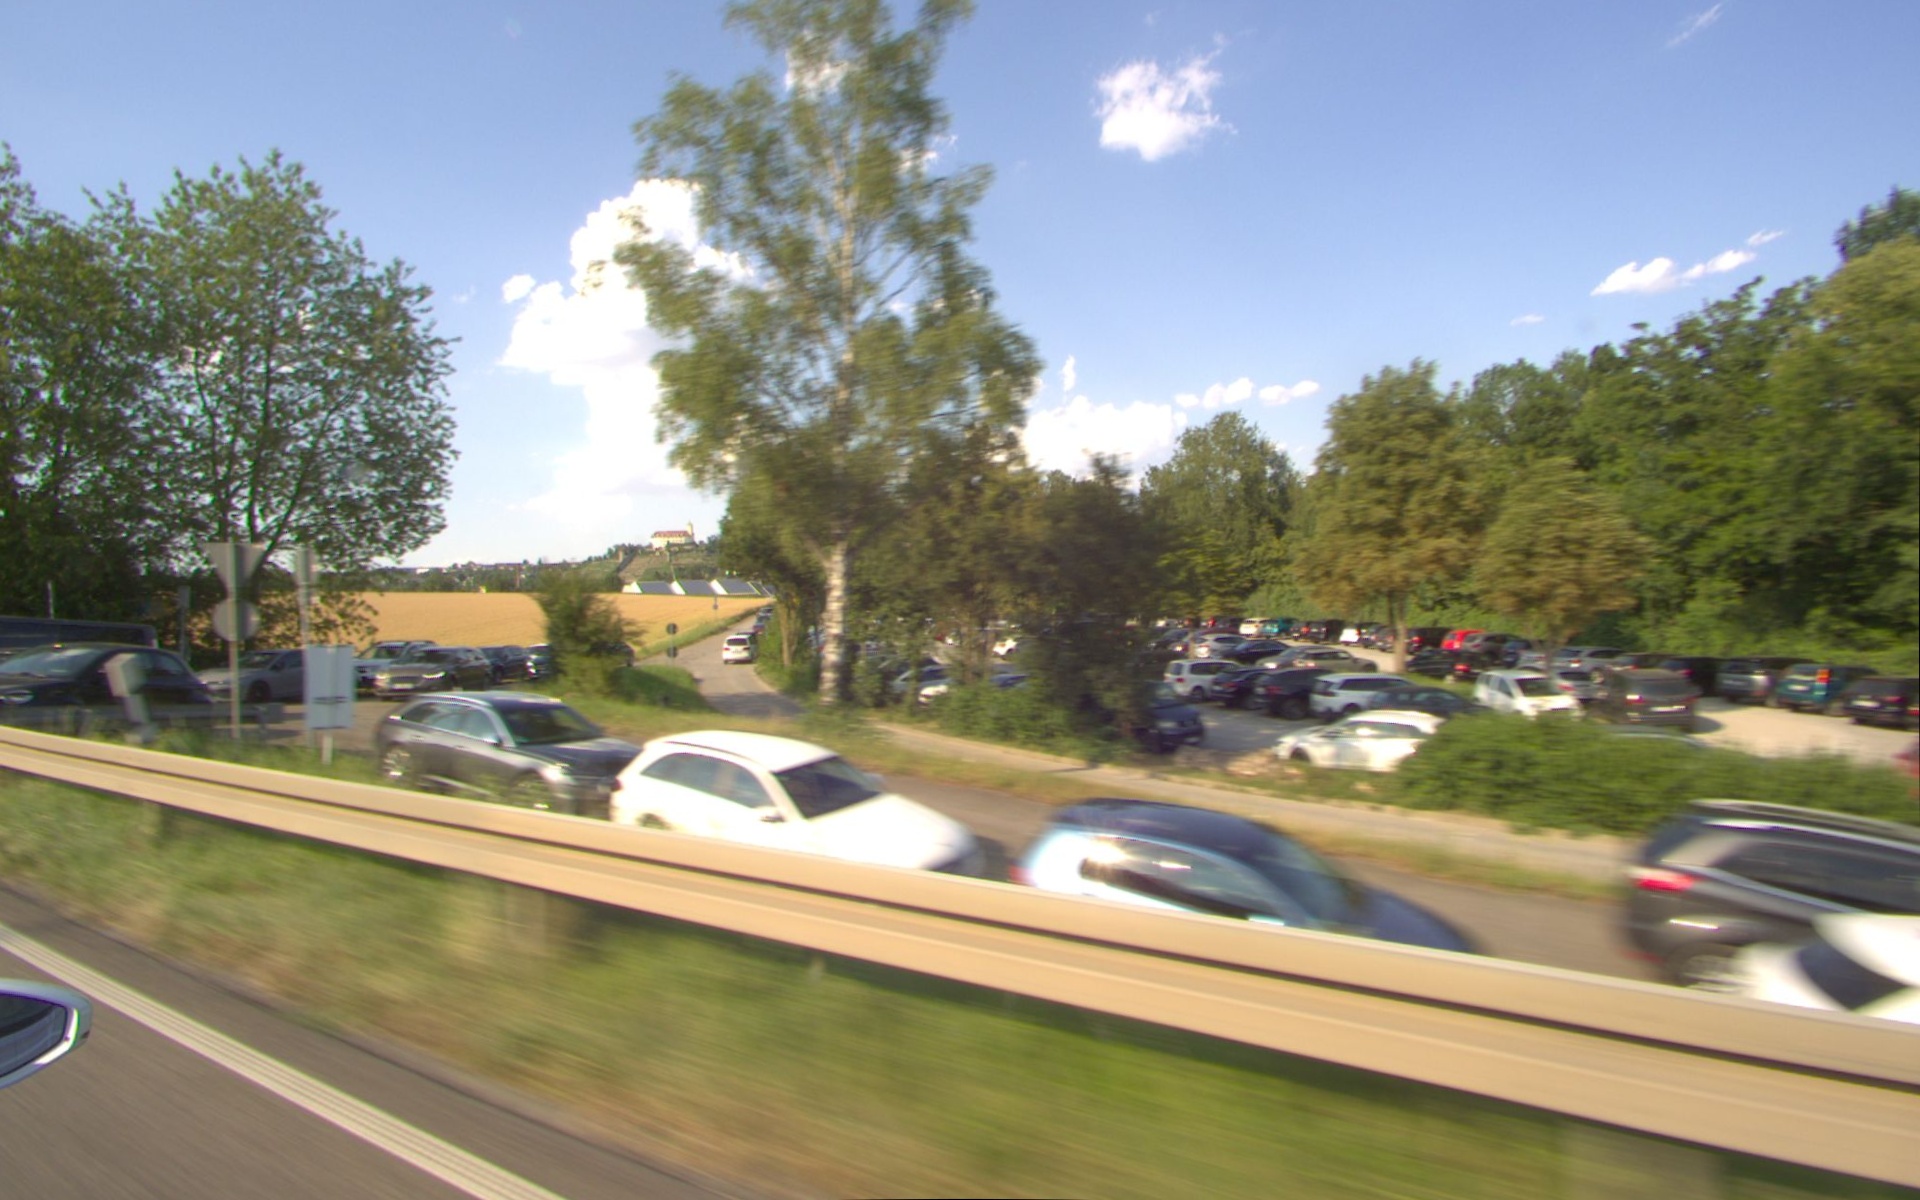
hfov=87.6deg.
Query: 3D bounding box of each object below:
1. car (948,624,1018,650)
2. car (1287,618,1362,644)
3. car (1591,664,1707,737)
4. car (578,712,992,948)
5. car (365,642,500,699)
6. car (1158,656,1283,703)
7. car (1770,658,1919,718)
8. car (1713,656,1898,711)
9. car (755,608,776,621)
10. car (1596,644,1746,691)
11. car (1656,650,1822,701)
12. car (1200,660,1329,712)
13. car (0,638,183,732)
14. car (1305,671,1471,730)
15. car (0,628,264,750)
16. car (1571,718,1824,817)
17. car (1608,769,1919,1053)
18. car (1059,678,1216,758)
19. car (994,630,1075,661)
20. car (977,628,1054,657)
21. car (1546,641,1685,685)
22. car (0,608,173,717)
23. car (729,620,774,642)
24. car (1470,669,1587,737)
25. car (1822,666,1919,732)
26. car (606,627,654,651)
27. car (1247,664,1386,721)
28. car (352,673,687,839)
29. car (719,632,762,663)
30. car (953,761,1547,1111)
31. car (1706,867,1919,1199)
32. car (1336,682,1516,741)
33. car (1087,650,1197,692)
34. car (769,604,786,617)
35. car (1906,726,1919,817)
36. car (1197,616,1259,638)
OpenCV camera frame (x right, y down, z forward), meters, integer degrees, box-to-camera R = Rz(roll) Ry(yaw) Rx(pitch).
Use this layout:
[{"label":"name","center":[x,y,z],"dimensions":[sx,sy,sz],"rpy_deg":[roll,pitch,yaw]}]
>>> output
[{"label":"car","center":[1.567,2.535,69.270],"dimensions":[4.513,1.713,1.801],"rpy_deg":[0,0,-14]},{"label":"car","center":[25.150,2.128,69.143],"dimensions":[4.507,1.713,1.804],"rpy_deg":[0,0,4]},{"label":"car","center":[20.259,2.888,29.636],"dimensions":[1.786,1.776,4.142],"rpy_deg":[0,-1,20]},{"label":"car","center":[-2.116,2.407,11.528],"dimensions":[4.715,1.581,1.886],"rpy_deg":[2,4,34]},{"label":"car","center":[-14.807,1.936,28.396],"dimensions":[1.776,1.459,4.592],"rpy_deg":[1,-2,-6]},{"label":"car","center":[10.373,3.135,39.944],"dimensions":[4.513,1.713,1.801],"rpy_deg":[0,0,-14]},{"label":"car","center":[28.209,2.709,31.119],"dimensions":[4.507,1.713,1.804],"rpy_deg":[0,0,4]},{"label":"car","center":[27.972,2.747,33.260],"dimensions":[4.507,1.713,1.804],"rpy_deg":[0,0,4]},{"label":"car","center":[-23.214,1.707,119.828],"dimensions":[1.961,1.527,4.642],"rpy_deg":[0,0,-5]},{"label":"car","center":[27.731,2.617,39.182],"dimensions":[4.507,1.713,1.804],"rpy_deg":[0,0,4]},{"label":"car","center":[28.145,2.705,36.294],"dimensions":[4.507,1.713,1.804],"rpy_deg":[0,0,4]},{"label":"car","center":[11.397,3.164,37.475],"dimensions":[4.520,1.713,1.798],"rpy_deg":[0,0,-22]},{"label":"car","center":[-15.277,1.343,16.222],"dimensions":[1.687,1.416,4.330],"rpy_deg":[2,-4,5]},{"label":"car","center":[13.562,3.180,31.916],"dimensions":[4.507,1.713,1.804],"rpy_deg":[0,0,0]},{"label":"car","center":[-12.780,1.272,14.866],"dimensions":[1.687,1.527,4.331],"rpy_deg":[2,-4,2]},{"label":"car","center":[15.144,3.406,20.850],"dimensions":[3.935,1.563,1.798],"rpy_deg":[0,-1,25]},{"label":"car","center":[8.381,2.693,8.465],"dimensions":[4.709,1.698,1.888],"rpy_deg":[1,3,30]},{"label":"car","center":[5.083,3.355,29.246],"dimensions":[1.782,1.866,4.562],"rpy_deg":[0,-1,-37]},{"label":"car","center":[4.483,2.709,60.032],"dimensions":[4.513,1.713,1.801],"rpy_deg":[0,0,-14]},{"label":"car","center":[3.496,2.663,62.984],"dimensions":[4.513,1.713,1.801],"rpy_deg":[0,0,-14]},{"label":"car","center":[26.998,2.577,41.369],"dimensions":[4.507,1.713,1.804],"rpy_deg":[0,0,4]},{"label":"car","center":[-18.226,1.129,18.666],"dimensions":[1.946,1.966,5.140],"rpy_deg":[0,-6,31]},{"label":"car","center":[-17.010,2.507,81.470],"dimensions":[1.972,1.527,4.847],"rpy_deg":[-2,2,-32]},{"label":"car","center":[17.192,3.056,30.494],"dimensions":[1.622,1.692,4.150],"rpy_deg":[0,-1,7]},{"label":"car","center":[27.182,2.735,27.983],"dimensions":[4.507,1.713,1.804],"rpy_deg":[0,0,4]},{"label":"car","center":[-22.312,2.627,67.859],"dimensions":[1.961,1.526,4.645],"rpy_deg":[0,-2,-3]},{"label":"car","center":[12.407,3.162,34.839],"dimensions":[4.520,1.713,1.798],"rpy_deg":[0,0,-22]},{"label":"car","center":[-6.299,2.048,14.210],"dimensions":[4.709,1.581,1.888],"rpy_deg":[1,3,29]},{"label":"car","center":[-13.492,2.892,61.763],"dimensions":[1.961,1.639,4.640],"rpy_deg":[0,1,-5]},{"label":"car","center":[2.431,2.623,8.849],"dimensions":[4.711,1.581,1.887],"rpy_deg":[1,4,31]},{"label":"car","center":[7.590,2.966,5.975],"dimensions":[4.706,1.581,1.890],"rpy_deg":[1,3,27]},{"label":"car","center":[13.742,3.278,29.733],"dimensions":[4.507,1.563,1.804],"rpy_deg":[0,0,0]},{"label":"car","center":[8.054,3.117,44.398],"dimensions":[4.513,1.713,1.801],"rpy_deg":[0,0,-14]},{"label":"car","center":[-26.101,1.462,143.267],"dimensions":[1.961,1.810,4.642],"rpy_deg":[0,0,-5]},{"label":"car","center":[18.932,3.348,18.577],"dimensions":[1.634,1.563,3.750],"rpy_deg":[0,-1,38]},{"label":"car","center":[21.570,2.164,80.745],"dimensions":[4.507,1.713,1.804],"rpy_deg":[0,0,4]}]
